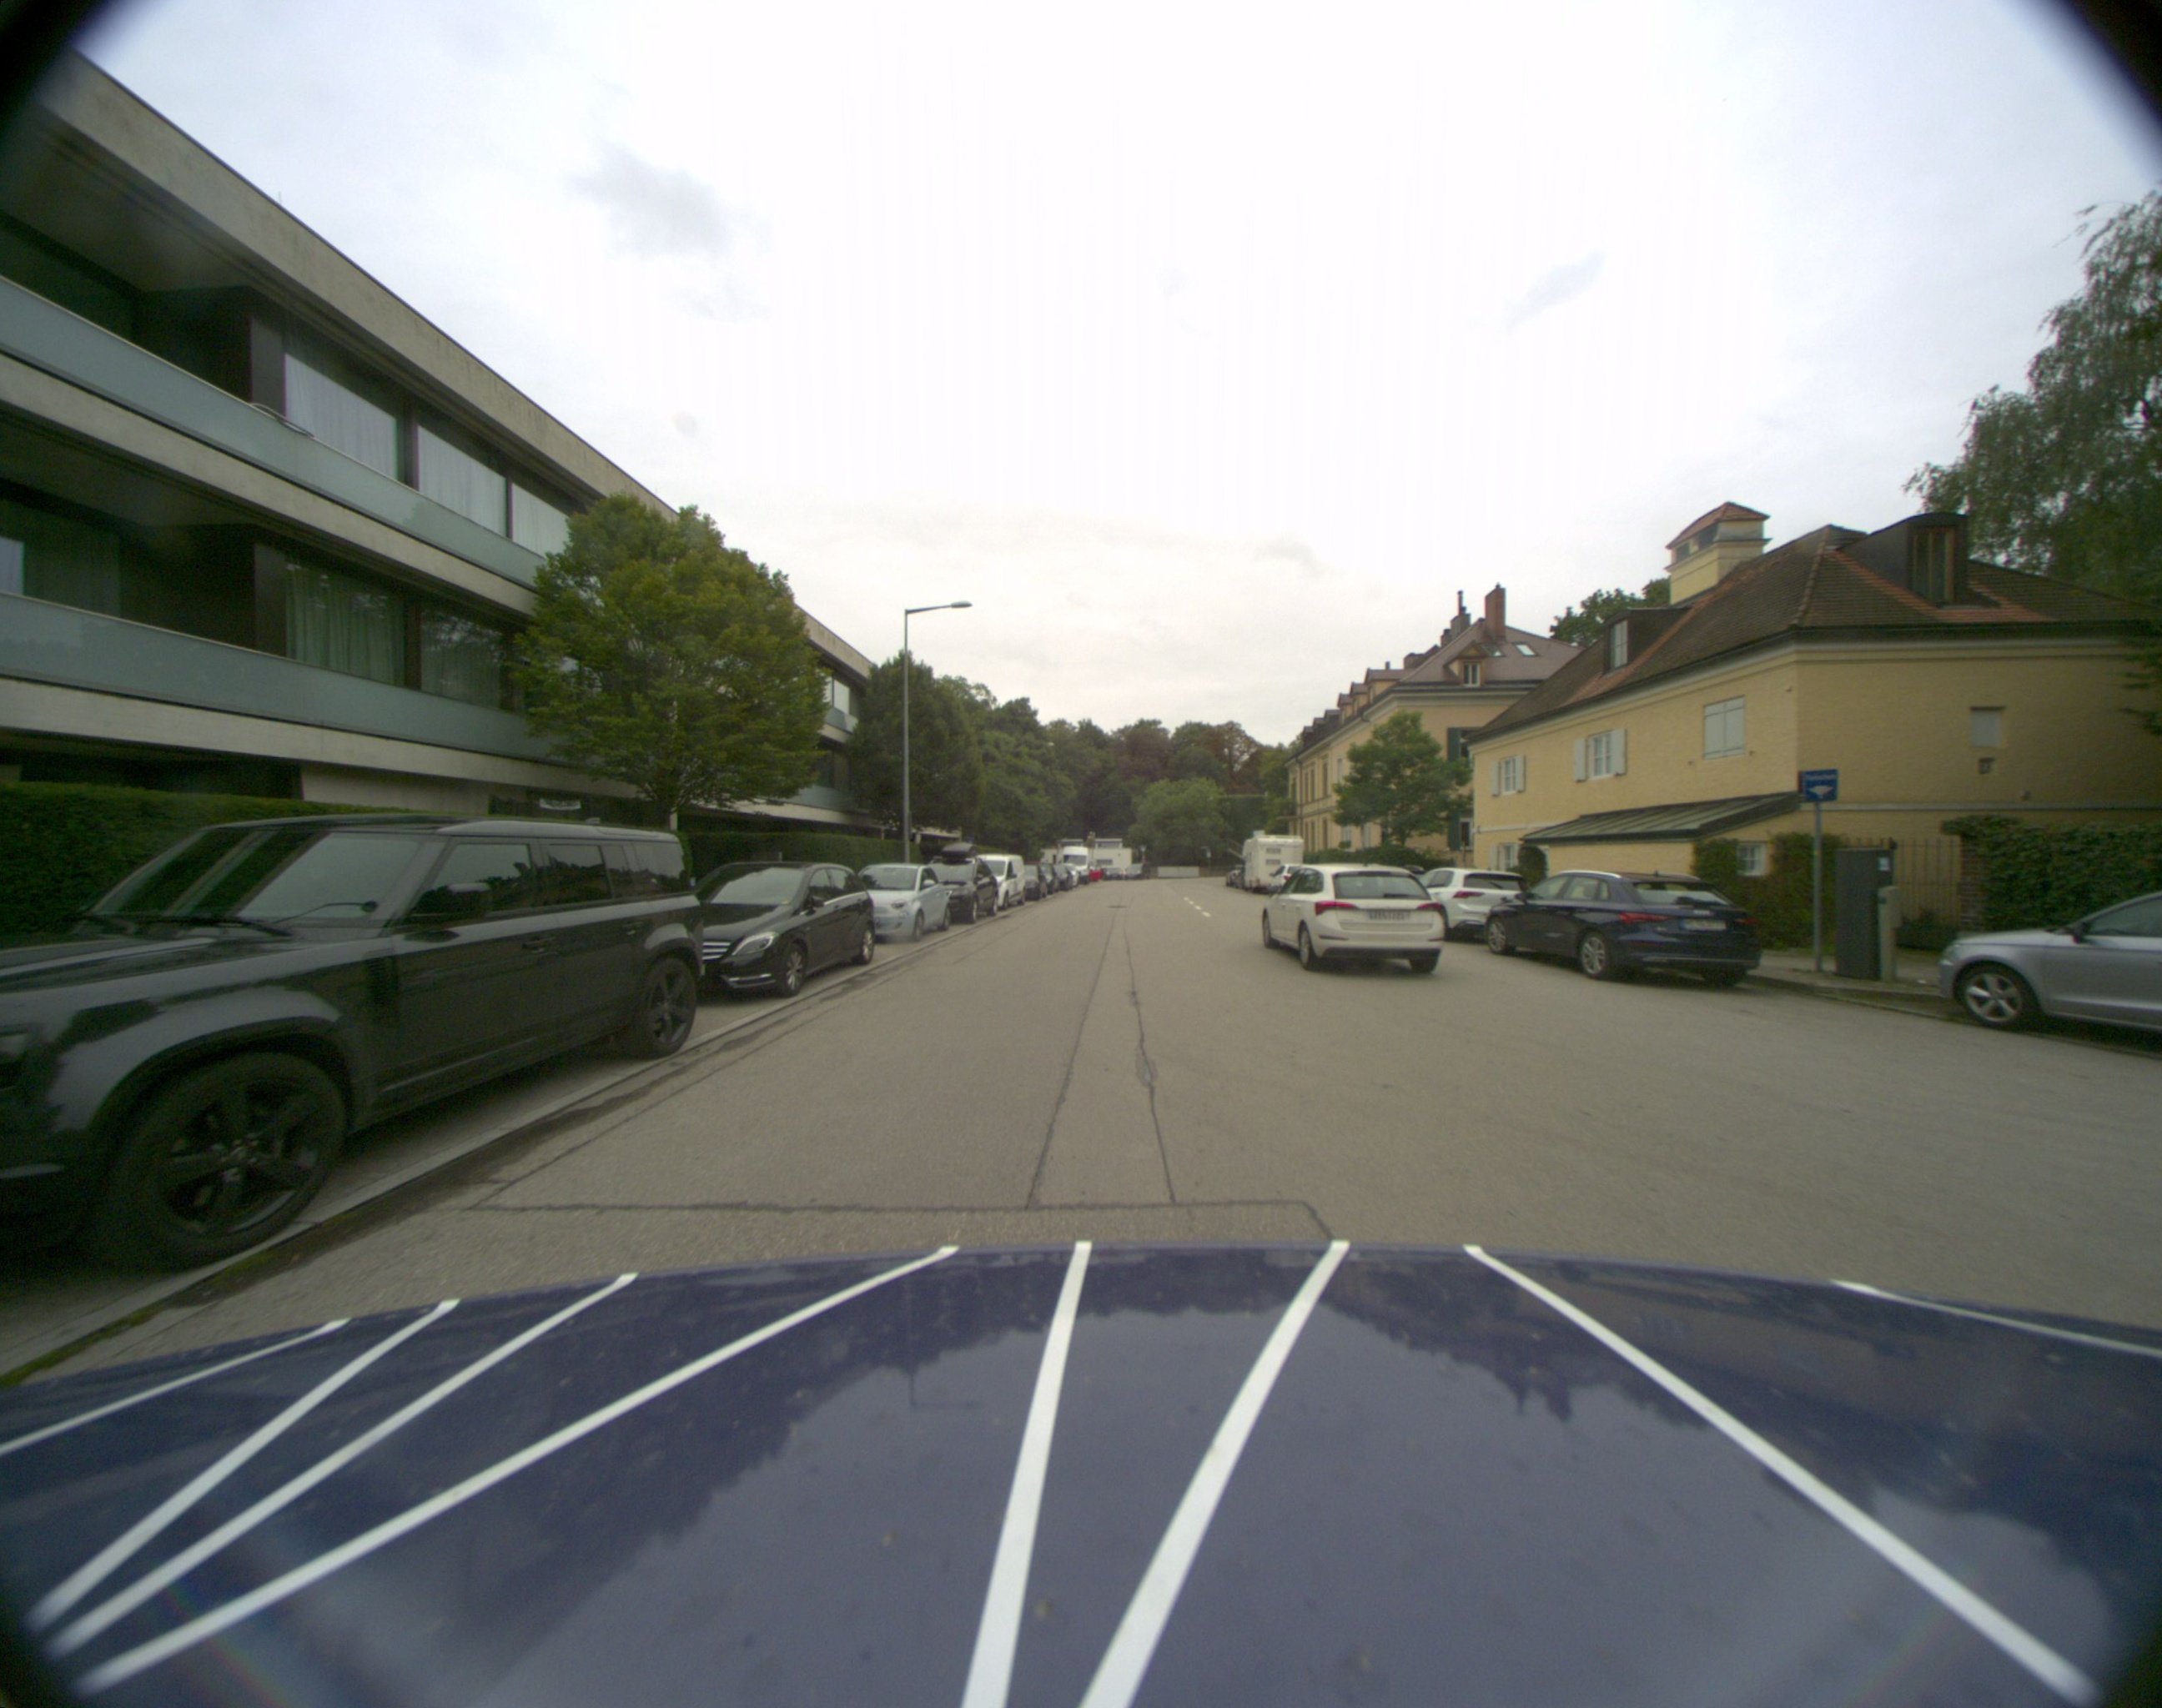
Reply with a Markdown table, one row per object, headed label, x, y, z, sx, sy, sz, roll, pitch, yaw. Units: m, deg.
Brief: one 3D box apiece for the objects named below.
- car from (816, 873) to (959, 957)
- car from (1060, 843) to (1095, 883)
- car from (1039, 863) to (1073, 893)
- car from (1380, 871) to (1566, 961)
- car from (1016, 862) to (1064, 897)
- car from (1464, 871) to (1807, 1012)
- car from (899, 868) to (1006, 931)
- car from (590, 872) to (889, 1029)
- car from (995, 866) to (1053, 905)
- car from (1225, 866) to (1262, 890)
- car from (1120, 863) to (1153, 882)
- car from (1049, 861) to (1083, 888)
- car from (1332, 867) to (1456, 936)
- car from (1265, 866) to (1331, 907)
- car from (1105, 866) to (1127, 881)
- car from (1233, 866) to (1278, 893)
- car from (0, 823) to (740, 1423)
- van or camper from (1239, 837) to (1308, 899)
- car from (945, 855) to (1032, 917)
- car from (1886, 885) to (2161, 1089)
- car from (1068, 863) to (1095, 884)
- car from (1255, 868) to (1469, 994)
| label | x | y | z | sx | sy | sz | roll | pitch | yaw |
| --- | --- | --- | --- | --- | --- | --- | --- | --- | --- |
| car | -3.821 | 1.144 | 15.710 | 1.751 | 1.471 | 3.890 | 0 | -1 | 4 |
| car | -0.205 | 0.700 | 54.920 | 2.084 | 2.670 | 6.091 | 2 | -1 | 3 |
| car | -1.302 | 1.303 | 42.040 | 1.284 | 1.497 | 5.210 | 2 | -1 | 4 |
| car | 8.026 | 1.173 | 16.096 | 1.849 | 1.526 | 4.523 | 2 | 0 | 5 |
| car | -1.907 | 1.191 | 36.620 | 1.730 | 1.520 | 4.206 | 2 | -1 | 4 |
| car | 7.643 | 1.074 | 11.191 | 1.849 | 1.526 | 4.563 | 2 | 0 | 3 |
| car | -3.278 | 1.130 | 20.299 | 1.751 | 1.471 | 4.600 | -1 | -1 | 4 |
| car | -4.042 | 1.036 | 9.986 | 1.752 | 1.530 | 4.570 | 0 | -1 | 2 |
| car | -2.267 | 1.244 | 31.289 | 1.751 | 1.455 | 4.244 | 1 | -1 | 4 |
| car | 11.257 | 1.620 | 52.934 | 1.939 | 1.526 | 4.533 | 2 | 0 | 6 |
| car | 5.327 | 1.780 | 72.292 | 1.995 | 1.682 | 4.343 | 0 | -3 | 19 |
| car | -0.918 | 1.310 | 48.240 | 1.875 | 1.560 | 5.003 | 2 | -1 | 1 |
| car | 8.419 | 1.205 | 20.903 | 1.849 | 1.526 | 4.443 | 2 | 0 | 5 |
| car | 9.088 | 1.310 | 32.147 | 1.782 | 1.526 | 4.230 | 2 | 0 | 4 |
| car | 3.544 | 2.013 | 77.627 | 1.896 | 1.437 | 4.269 | -2 | -2 | -2 |
| car | 10.742 | 1.550 | 47.081 | 1.940 | 1.499 | 4.824 | 2 | 0 | 4 |
| car | -4.290 | 0.839 | 4.619 | 1.992 | 1.860 | 5.078 | -1 | 0 | 2 |
| van or camper | 9.990 | 0.719 | 40.071 | 2.460 | 2.923 | 7.216 | 2 | 0 | 6 |
| car | -2.955 | 1.009 | 25.445 | 1.826 | 1.849 | 4.901 | -1 | -1 | 6 |
| car | 9.320 | 1.103 | 5.931 | 1.744 | 1.526 | 4.150 | 2 | 0 | 3 |
| car | 0.104 | 1.544 | 61.139 | 1.875 | 1.498 | 4.840 | 2 | -1 | 3 |
| car | 3.853 | 0.973 | 11.227 | 1.776 | 1.466 | 4.135 | 0 | 0 | 2 |
